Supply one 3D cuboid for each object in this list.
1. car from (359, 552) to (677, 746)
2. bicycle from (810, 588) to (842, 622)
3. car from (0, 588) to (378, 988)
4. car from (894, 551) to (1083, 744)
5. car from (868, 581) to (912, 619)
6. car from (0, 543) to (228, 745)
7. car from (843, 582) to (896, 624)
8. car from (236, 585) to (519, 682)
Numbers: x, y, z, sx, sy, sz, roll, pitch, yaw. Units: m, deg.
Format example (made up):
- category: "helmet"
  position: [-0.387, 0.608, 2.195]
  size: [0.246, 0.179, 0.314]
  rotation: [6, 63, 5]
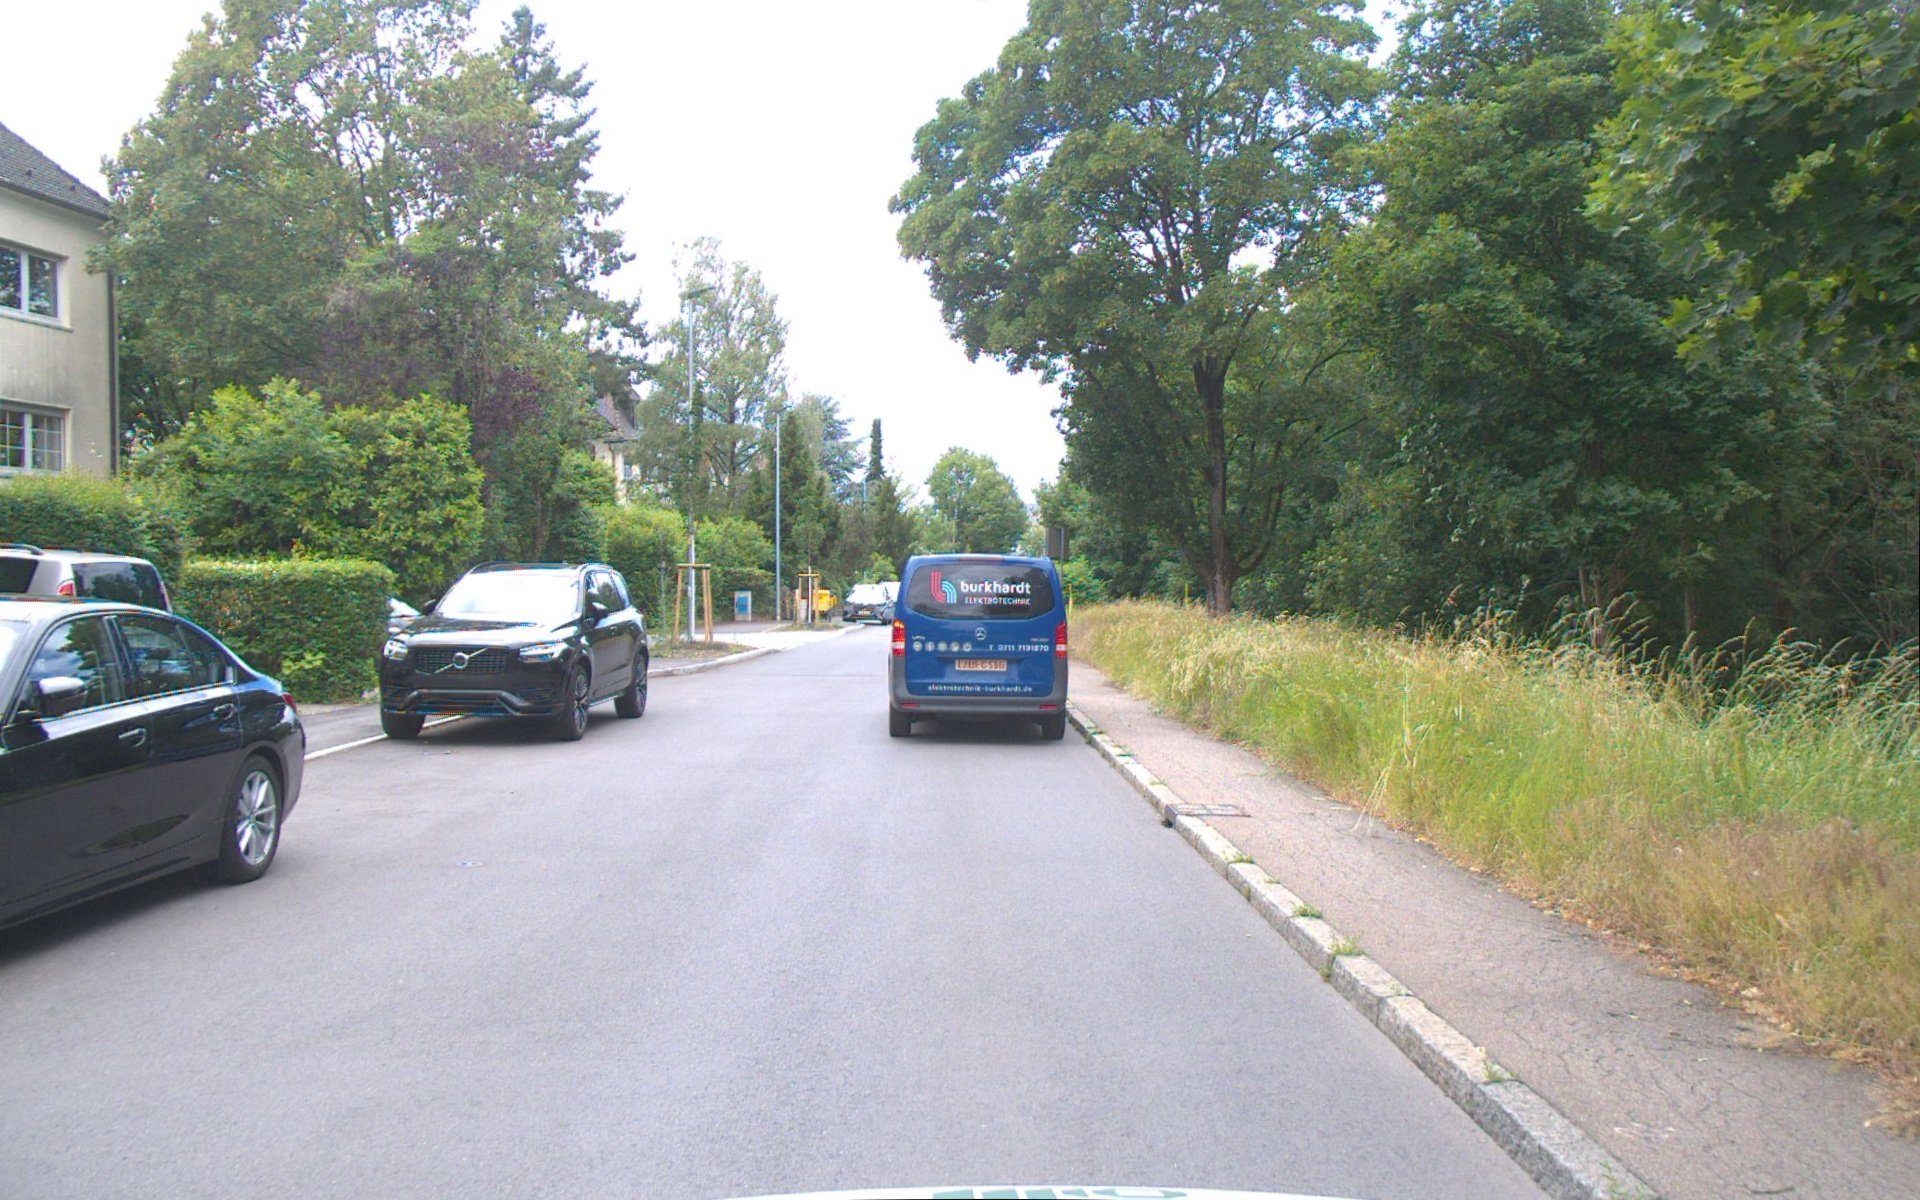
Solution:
- category: "car"
  position: [-4.551, 0.437, 17.966]
  size: [1.933, 1.767, 5.190]
  rotation: [1, 0, 1]
- category: "bicycle"
  position: [-5.376, 0.199, 66.340]
  size: [0.887, 1.273, 2.916]
  rotation: [2, 0, 2]
- category: "car"
  position: [-4.336, 0.680, 7.246]
  size: [1.718, 1.437, 4.899]
  rotation: [1, 0, 1]
- category: "car"
  position: [0.202, 0.405, 18.202]
  size: [1.851, 1.876, 3.999]
  rotation: [0, 2, -3]
- category: "car"
  position: [-3.454, -0.036, 82.143]
  size: [1.794, 1.782, 4.001]
  rotation: [2, 1, 2]
- category: "car"
  position: [-8.835, 0.330, 14.984]
  size: [3.613, 1.666, 1.830]
  rotation: [1, 0, 12]
- category: "car"
  position: [-3.741, 0.118, 69.241]
  size: [1.798, 1.659, 4.301]
  rotation: [2, 0, 2]
- category: "car"
  position: [-9.000, 0.489, 25.749]
  size: [3.743, 1.409, 1.779]
  rotation: [0, 1, 2]
